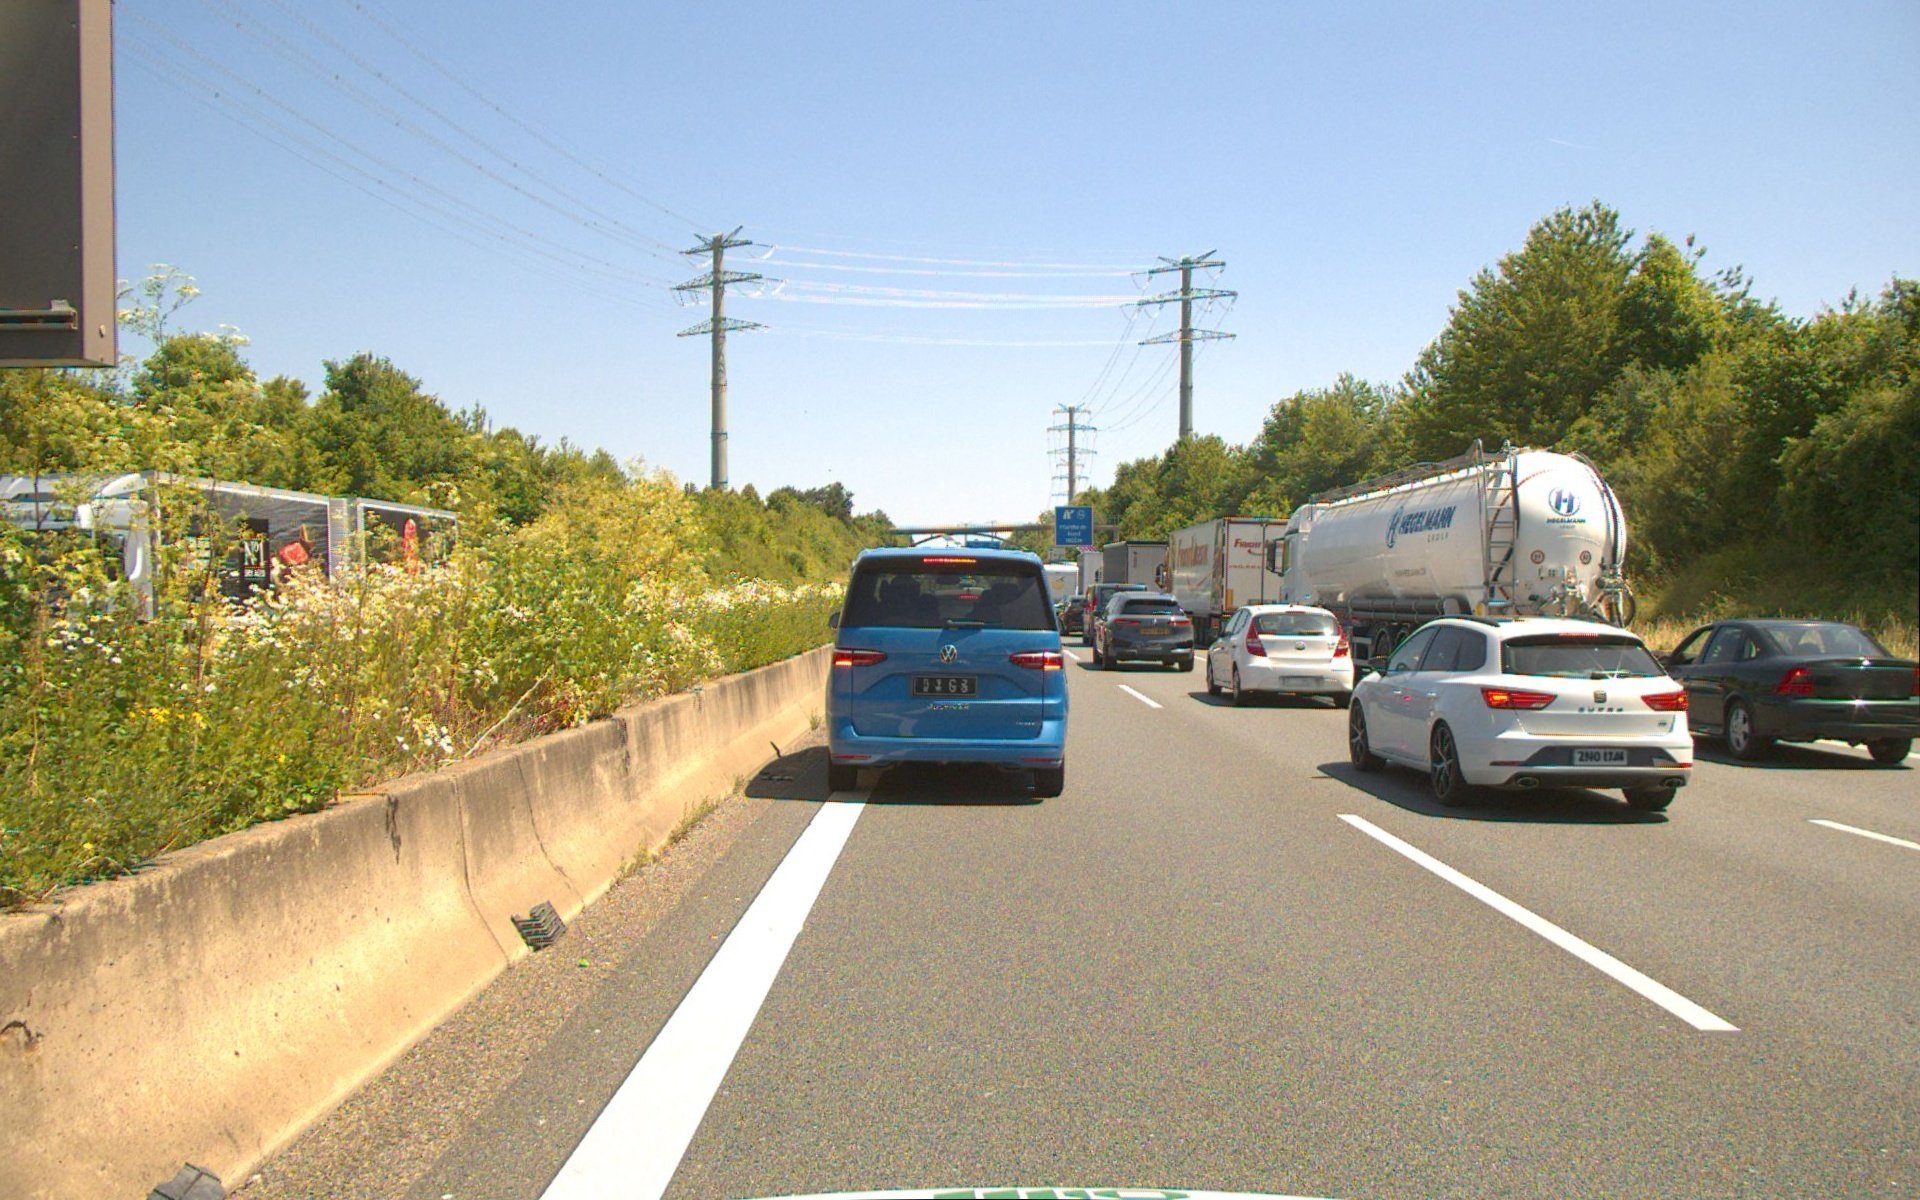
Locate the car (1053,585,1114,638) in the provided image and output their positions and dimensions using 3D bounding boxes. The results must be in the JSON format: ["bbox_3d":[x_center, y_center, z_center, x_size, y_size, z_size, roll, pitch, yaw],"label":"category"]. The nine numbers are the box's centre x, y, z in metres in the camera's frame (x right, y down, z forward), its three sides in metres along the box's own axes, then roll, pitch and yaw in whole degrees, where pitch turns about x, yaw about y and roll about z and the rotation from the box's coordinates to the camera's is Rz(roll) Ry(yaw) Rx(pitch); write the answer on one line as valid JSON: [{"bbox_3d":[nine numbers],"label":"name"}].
[{"bbox_3d":[4.754,0.468,64.106,1.885,1.959,4.234,-1,-1,-2],"label":"car"}]

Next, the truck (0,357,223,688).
[{"bbox_3d":[-14.879,-1.205,27.723,3.235,5.139,4.032,0,0,0],"label":"truck"}]

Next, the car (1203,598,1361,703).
[{"bbox_3d":[4.959,0.760,25.952,1.779,1.511,4.000,-1,-1,1],"label":"car"}]

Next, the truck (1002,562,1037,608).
[{"bbox_3d":[5.128,-1.237,143.657,2.835,3.832,10.141,0,0,1],"label":"truck"}]

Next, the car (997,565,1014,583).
[{"bbox_3d":[5.690,-3.227,206.706,1.953,2.163,3.999,0,0,0],"label":"car"}]

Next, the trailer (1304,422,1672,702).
[{"bbox_3d":[8.643,-0.526,29.051,2.705,3.912,11.485,0,0,0],"label":"trailer"}]

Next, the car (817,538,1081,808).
[{"bbox_3d":[-0.071,0.523,13.994,1.881,1.919,4.000,1,0,0],"label":"car"}]

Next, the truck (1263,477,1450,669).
[{"bbox_3d":[8.608,-0.548,36.528,2.736,3.904,5.571,0,0,0],"label":"truck"}]

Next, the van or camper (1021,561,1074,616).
[{"bbox_3d":[5.018,-0.599,95.831,2.896,3.075,7.104,0,0,2],"label":"van or camper"}]

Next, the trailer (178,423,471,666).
[{"bbox_3d":[-14.866,-1.139,39.828,3.254,5.136,9.591,0,0,1],"label":"trailer"}]

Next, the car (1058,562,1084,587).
[{"bbox_3d":[9.438,-2.192,141.180,1.952,2.049,4.000,0,0,0],"label":"car"}]

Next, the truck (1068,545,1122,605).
[{"bbox_3d":[9.202,-1.589,114.077,2.835,3.832,13.345,0,0,1],"label":"truck"}]

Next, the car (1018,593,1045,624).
[{"bbox_3d":[4.901,0.610,113.724,1.798,2.033,4.000,-1,-1,2],"label":"car"}]

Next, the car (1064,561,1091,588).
[{"bbox_3d":[9.448,-2.016,133.076,1.952,2.049,4.000,0,0,0],"label":"car"}]

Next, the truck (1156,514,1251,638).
[{"bbox_3d":[9.334,-0.888,63.811,2.853,4.547,5.142,0,0,0],"label":"truck"}]

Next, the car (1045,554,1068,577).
[{"bbox_3d":[8.930,-3.208,153.299,1.952,2.049,4.000,0,0,0],"label":"car"}]

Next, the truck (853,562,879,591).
[{"bbox_3d":[-12.922,-3.157,227.994,2.852,3.886,11.943,1,0,0],"label":"truck"}]

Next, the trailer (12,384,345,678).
[{"bbox_3d":[-14.881,-1.185,32.200,3.254,5.136,6.703,0,-1,0],"label":"trailer"}]

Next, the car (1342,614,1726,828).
[{"bbox_3d":[4.481,0.868,13.638,1.711,1.468,4.313,-1,-1,1],"label":"car"}]

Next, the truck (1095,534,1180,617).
[{"bbox_3d":[8.843,-1.086,84.294,2.944,3.832,15.713,0,0,1],"label":"truck"}]

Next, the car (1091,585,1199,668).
[{"bbox_3d":[4.109,0.586,37.426,1.958,1.745,4.625,-1,-1,1],"label":"car"}]

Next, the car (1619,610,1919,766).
[{"bbox_3d":[8.641,0.862,17.692,1.607,1.441,3.989,-1,-1,1],"label":"car"}]

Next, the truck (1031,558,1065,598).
[{"bbox_3d":[10.421,-2.526,197.523,3.493,4.596,10.292,0,0,0],"label":"truck"}]

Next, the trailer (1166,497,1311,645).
[{"bbox_3d":[9.365,-0.898,57.177,2.853,4.547,12.152,0,0,0],"label":"trailer"}]

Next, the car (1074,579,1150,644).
[{"bbox_3d":[4.817,0.386,52.877,1.885,1.959,4.234,-1,-1,-2],"label":"car"}]
